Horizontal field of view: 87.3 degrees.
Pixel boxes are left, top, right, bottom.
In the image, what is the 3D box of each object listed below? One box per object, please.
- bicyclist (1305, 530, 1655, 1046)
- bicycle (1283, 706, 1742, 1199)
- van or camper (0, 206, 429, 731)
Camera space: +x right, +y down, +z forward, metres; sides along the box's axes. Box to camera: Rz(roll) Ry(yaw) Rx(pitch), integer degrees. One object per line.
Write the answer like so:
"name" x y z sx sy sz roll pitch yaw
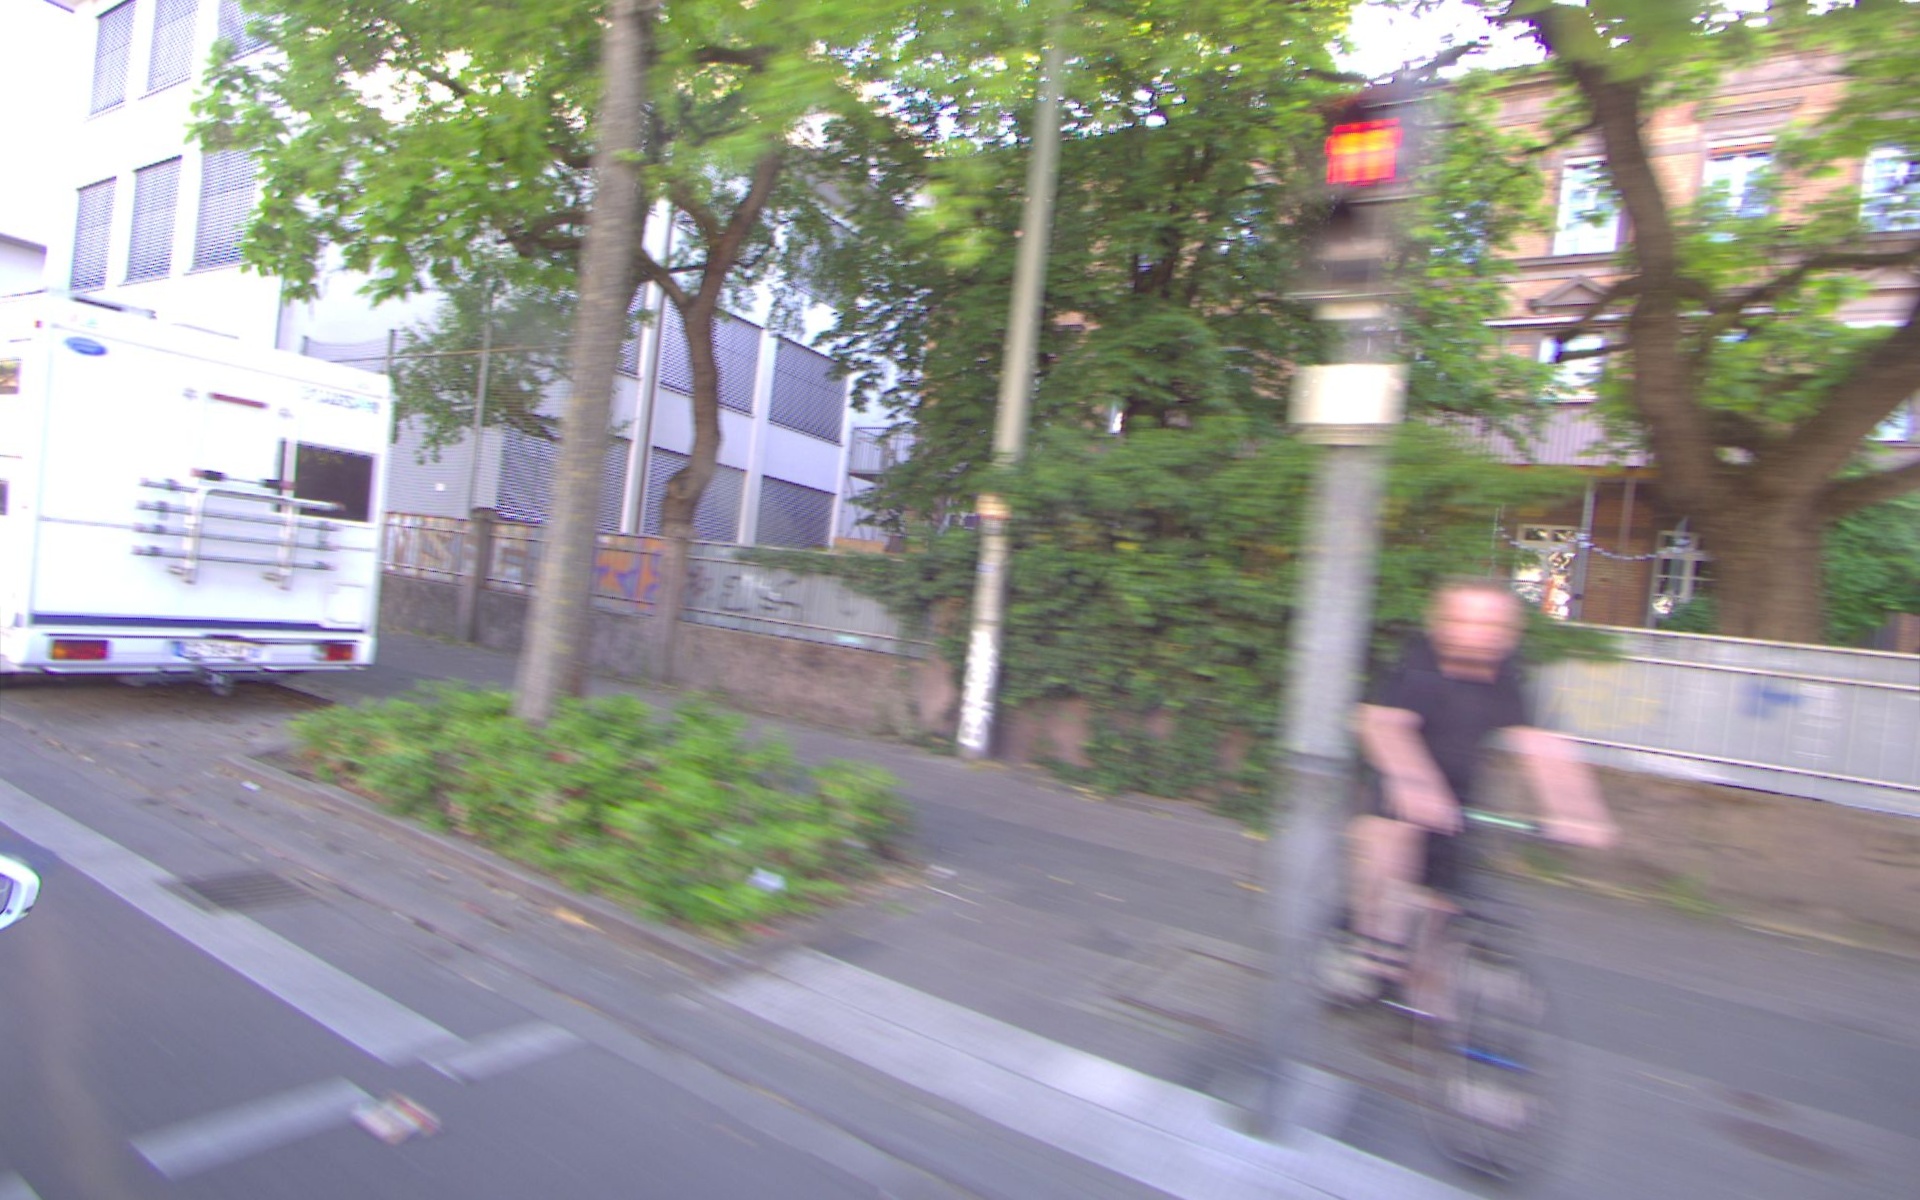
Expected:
"bicyclist" 1.741 0.590 3.504 0.737 1.528 0.702 7 0 8
"bicycle" 1.679 1.021 3.478 0.629 1.083 1.952 7 0 8
"van or camper" -8.118 -1.096 9.061 7.426 3.168 2.375 6 3 32
